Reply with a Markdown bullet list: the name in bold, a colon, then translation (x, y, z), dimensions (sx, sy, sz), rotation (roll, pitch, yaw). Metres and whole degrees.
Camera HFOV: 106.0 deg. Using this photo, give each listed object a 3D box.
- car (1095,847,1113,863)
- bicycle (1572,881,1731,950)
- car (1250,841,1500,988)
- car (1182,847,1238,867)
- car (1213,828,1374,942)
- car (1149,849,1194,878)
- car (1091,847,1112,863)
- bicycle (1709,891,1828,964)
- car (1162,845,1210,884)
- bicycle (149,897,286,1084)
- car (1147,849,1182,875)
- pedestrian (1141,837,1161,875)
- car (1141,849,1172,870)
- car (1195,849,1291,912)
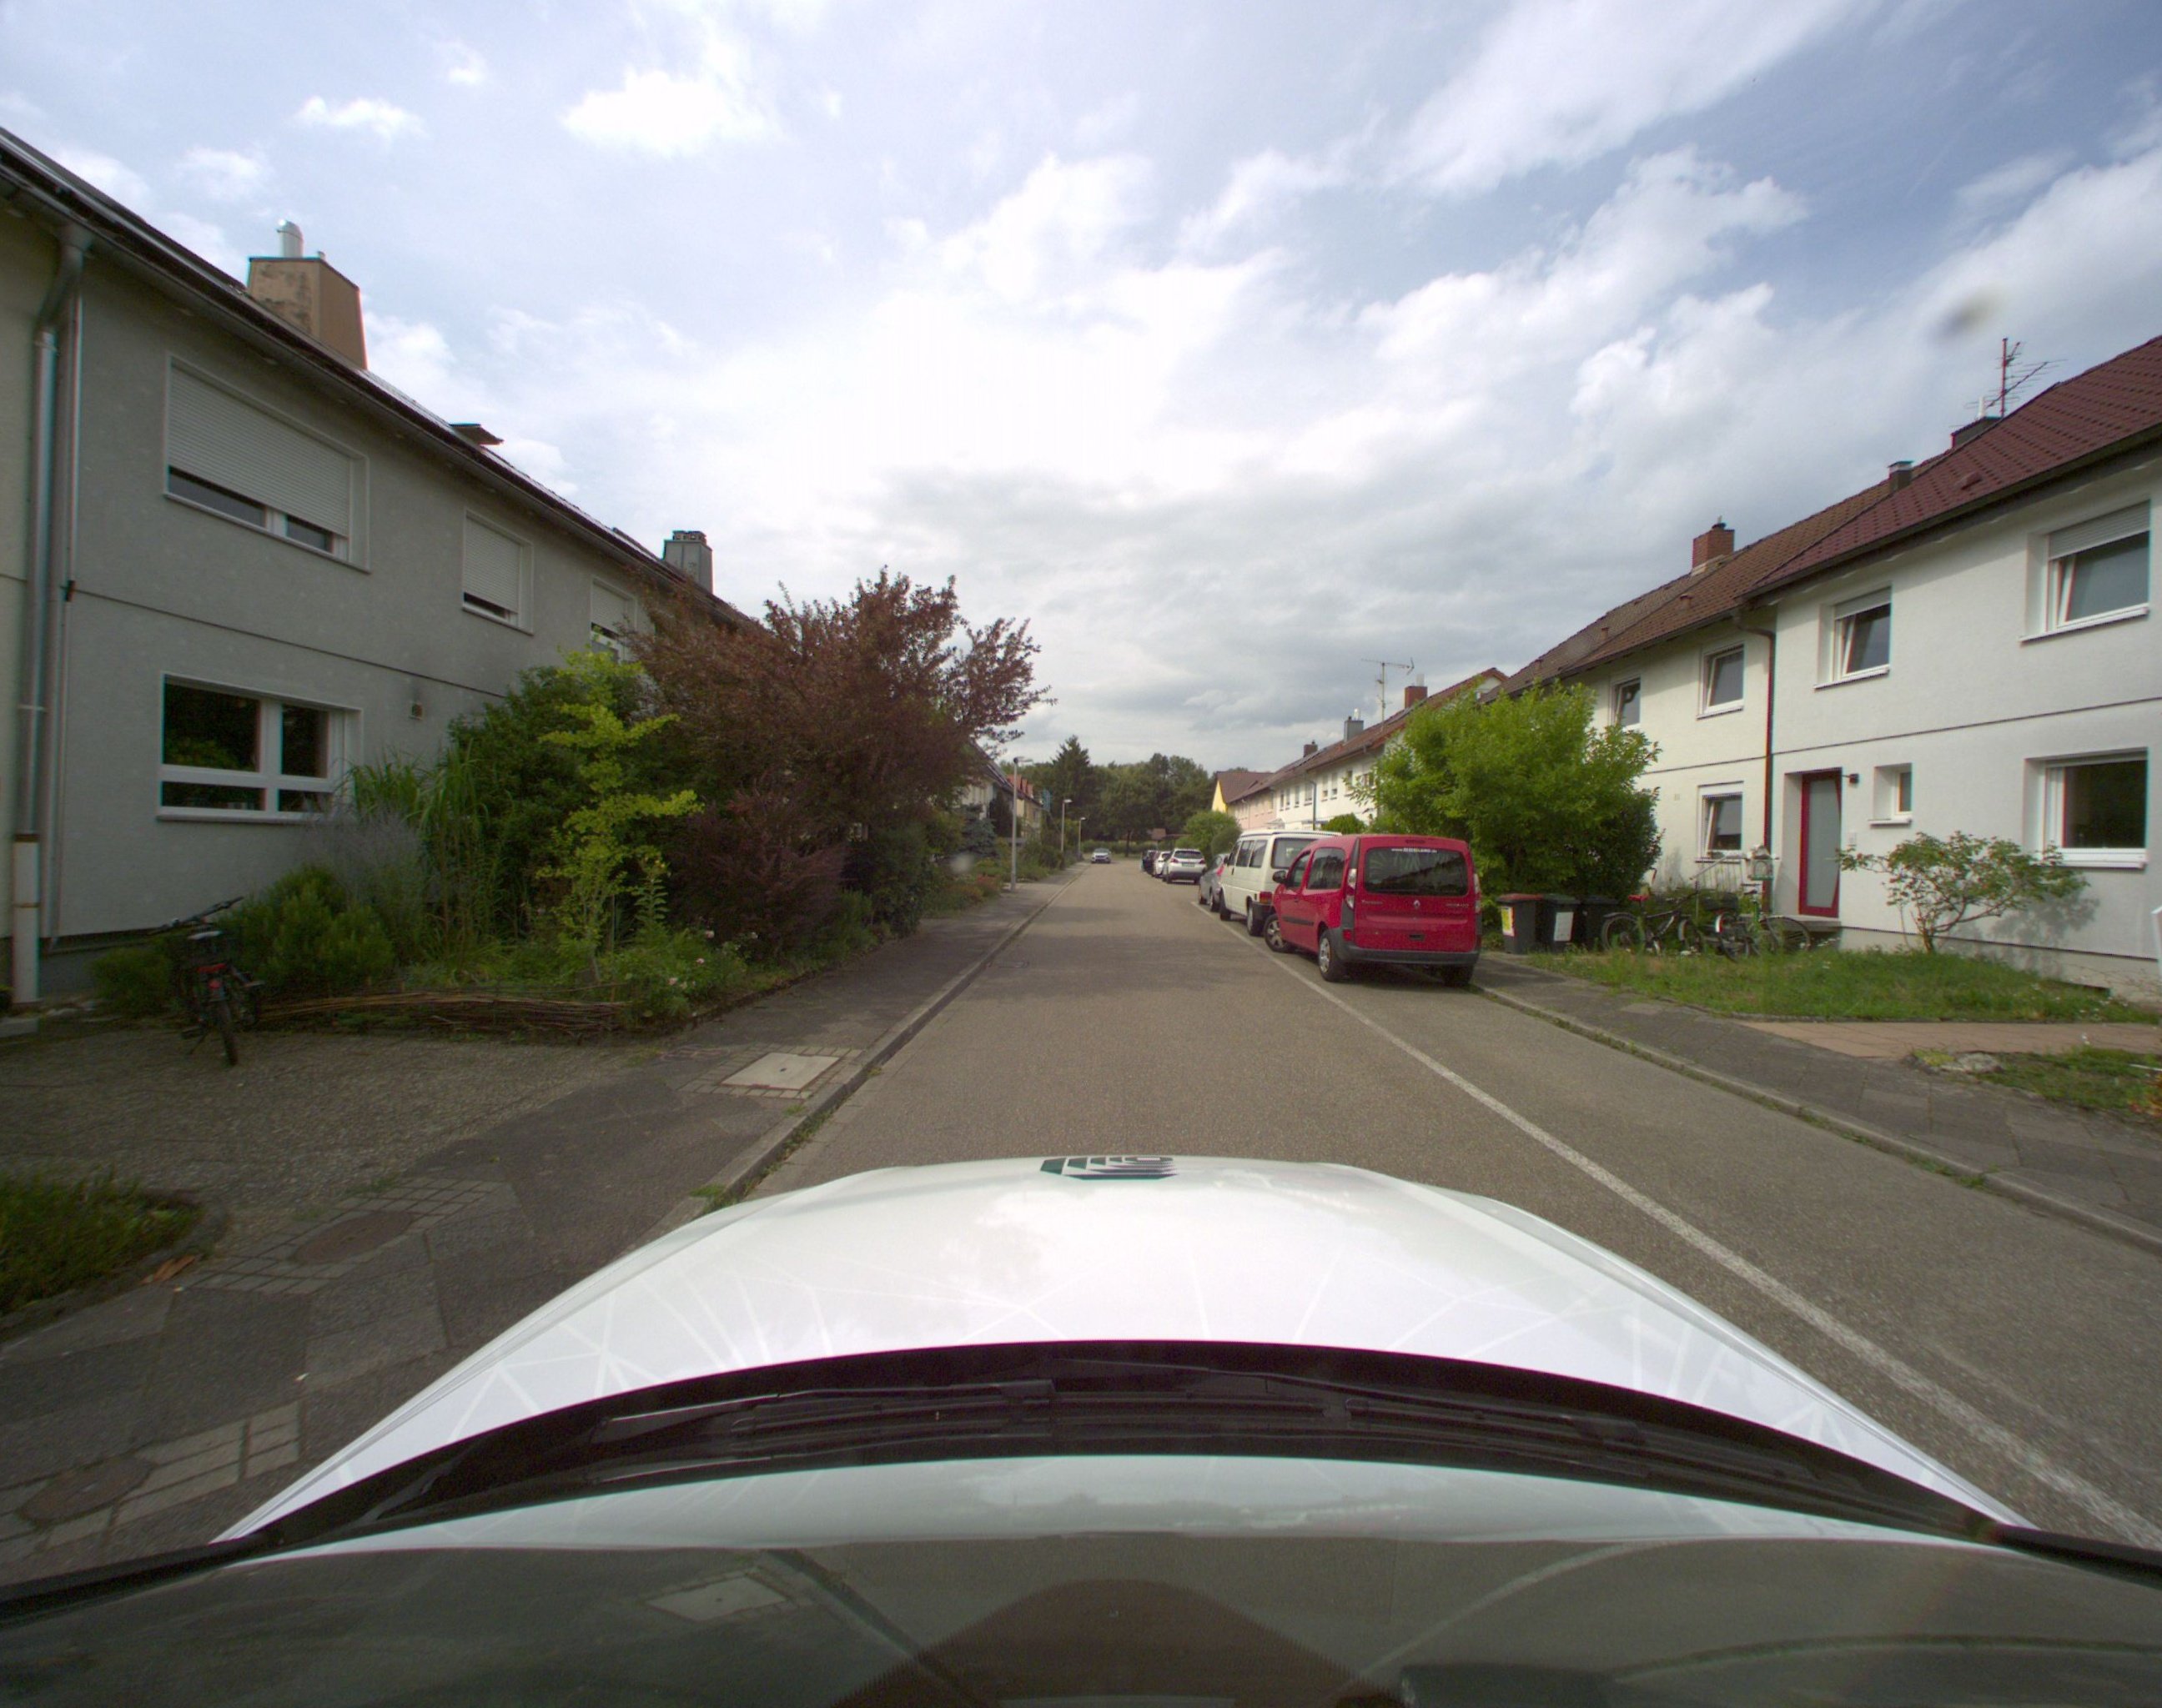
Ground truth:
- **car**: translation (2.457, 0.076, 86.335), dimensions (1.803, 1.562, 4.850), rotation (0, 1, 2)
- **bicycle**: translation (8.032, 0.859, 11.501), dimensions (1.871, 0.908, 0.560), rotation (1, 0, -1)
- **car**: translation (3.780, 0.658, 11.381), dimensions (1.805, 1.651, 4.408), rotation (0, 1, -2)
- **car**: translation (10.349, 0.200, 65.616), dimensions (4.253, 1.560, 1.936), rotation (0, 0, 2)
- **car**: translation (4.036, 0.504, 16.378), dimensions (2.014, 1.947, 4.747), rotation (0, 1, 0)
- **car**: translation (4.772, 0.468, 43.586), dimensions (1.832, 1.413, 4.635), rotation (0, 1, -1)
- **car**: translation (2.054, 0.081, 80.942), dimensions (1.926, 1.556, 4.638), rotation (1, 1, 3)
- **bicycle**: translation (9.404, 0.973, 11.136), dimensions (1.596, 0.865, 0.739), rotation (0, 1, -30)
- **car**: translation (4.623, 0.428, 36.321), dimensions (1.707, 1.543, 3.976), rotation (3, 1, 2)
- **bicycle**: translation (-5.518, 0.785, 5.214), dimensions (1.682, 0.892, 0.532), rotation (2, 2, 43)
- **car**: translation (5.018, 0.471, 49.600), dimensions (1.767, 1.436, 4.829), rotation (3, 0, 2)
- **pedestrian**: translation (3.748, 0.094, 43.536), dimensions (0.910, 2.013, 0.950), rotation (1, 0, -3)
- **car**: translation (5.484, 0.365, 59.929), dimensions (1.859, 1.417, 4.252), rotation (1, 1, 0)
- **car**: translation (4.157, 0.625, 21.483), dimensions (1.893, 1.459, 4.132), rotation (1, 1, 3)
